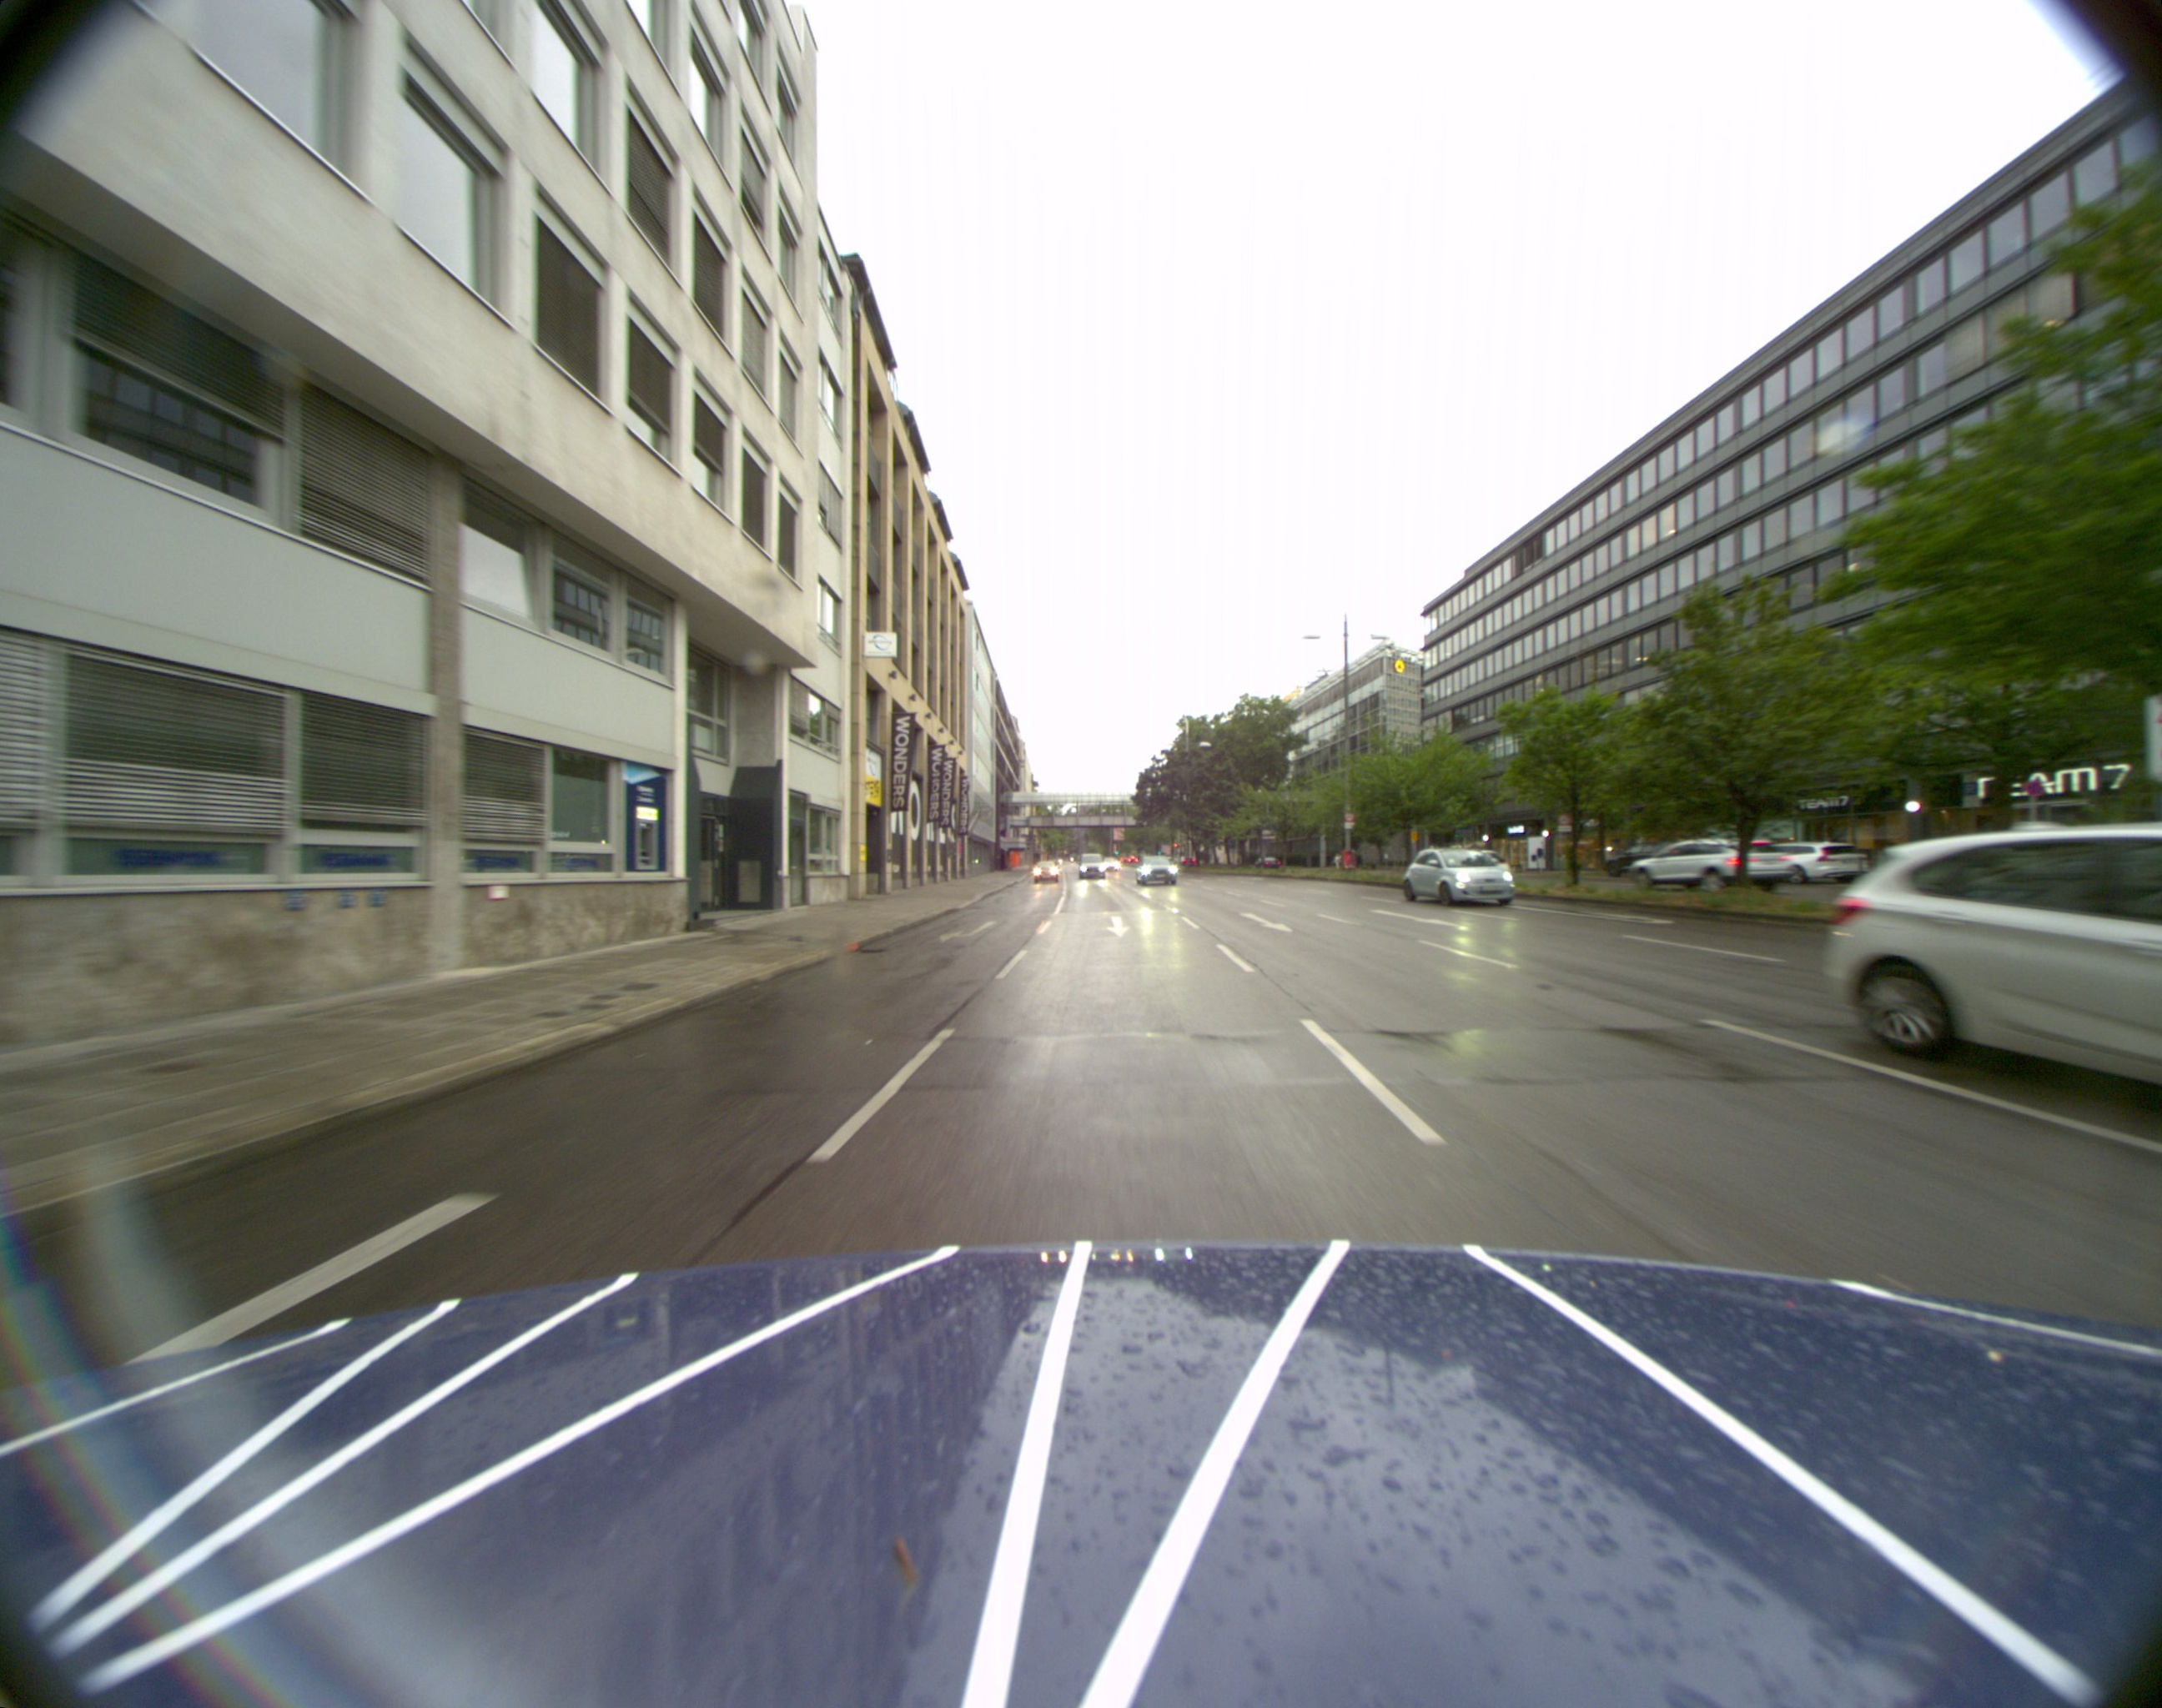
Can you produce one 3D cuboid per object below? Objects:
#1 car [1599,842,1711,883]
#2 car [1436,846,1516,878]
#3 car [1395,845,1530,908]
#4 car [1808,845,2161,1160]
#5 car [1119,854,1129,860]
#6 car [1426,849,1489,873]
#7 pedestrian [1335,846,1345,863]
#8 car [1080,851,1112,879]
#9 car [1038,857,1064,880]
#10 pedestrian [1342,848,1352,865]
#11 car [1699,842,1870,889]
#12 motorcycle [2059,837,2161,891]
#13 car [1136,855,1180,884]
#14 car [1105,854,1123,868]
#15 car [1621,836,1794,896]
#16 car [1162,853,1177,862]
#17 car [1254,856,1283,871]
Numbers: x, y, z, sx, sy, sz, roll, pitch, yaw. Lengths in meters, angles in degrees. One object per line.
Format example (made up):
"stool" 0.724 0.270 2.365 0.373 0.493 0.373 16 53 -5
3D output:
"car" 25.750 0.343 34.310 1.813 1.651 4.310 -2 0 1
"car" 19.450 0.381 37.635 1.687 1.423 4.082 -1 0 -3
"car" 10.309 0.562 20.845 1.788 1.564 3.690 -1 0 -1
"car" 6.314 0.741 3.623 1.787 1.564 4.289 -1 0 4
"car" 9.423 0.609 166.936 1.732 1.303 4.075 -2 0 -4
"car" 25.118 0.468 50.842 1.814 1.436 4.308 -2 0 -4
"pedestrian" 27.941 0.083 81.905 0.729 1.788 0.924 -2 1 -1
"car" 1.080 0.784 57.493 2.163 2.014 5.040 -1 0 -1
"car" -2.037 0.986 51.878 1.667 1.464 3.483 -1 0 -2
"pedestrian" 28.775 0.238 82.204 0.729 1.822 0.924 -2 1 -1
"car" 25.807 0.375 28.166 1.813 1.477 4.772 -4 0 -1
"motorcycle" 28.416 0.263 20.491 0.860 1.386 2.364 -5 2 -27
"car" 4.184 0.811 41.815 1.941 1.426 4.287 -1 0 0
"car" 3.503 0.771 81.968 1.853 1.434 3.870 -1 0 1
"car" 20.050 0.359 24.633 1.742 1.718 4.492 -2 0 -2
"car" 14.418 0.552 123.531 1.732 1.425 4.311 -1 0 -3
"car" 19.628 0.987 79.747 1.814 1.467 4.300 -1 0 -3
